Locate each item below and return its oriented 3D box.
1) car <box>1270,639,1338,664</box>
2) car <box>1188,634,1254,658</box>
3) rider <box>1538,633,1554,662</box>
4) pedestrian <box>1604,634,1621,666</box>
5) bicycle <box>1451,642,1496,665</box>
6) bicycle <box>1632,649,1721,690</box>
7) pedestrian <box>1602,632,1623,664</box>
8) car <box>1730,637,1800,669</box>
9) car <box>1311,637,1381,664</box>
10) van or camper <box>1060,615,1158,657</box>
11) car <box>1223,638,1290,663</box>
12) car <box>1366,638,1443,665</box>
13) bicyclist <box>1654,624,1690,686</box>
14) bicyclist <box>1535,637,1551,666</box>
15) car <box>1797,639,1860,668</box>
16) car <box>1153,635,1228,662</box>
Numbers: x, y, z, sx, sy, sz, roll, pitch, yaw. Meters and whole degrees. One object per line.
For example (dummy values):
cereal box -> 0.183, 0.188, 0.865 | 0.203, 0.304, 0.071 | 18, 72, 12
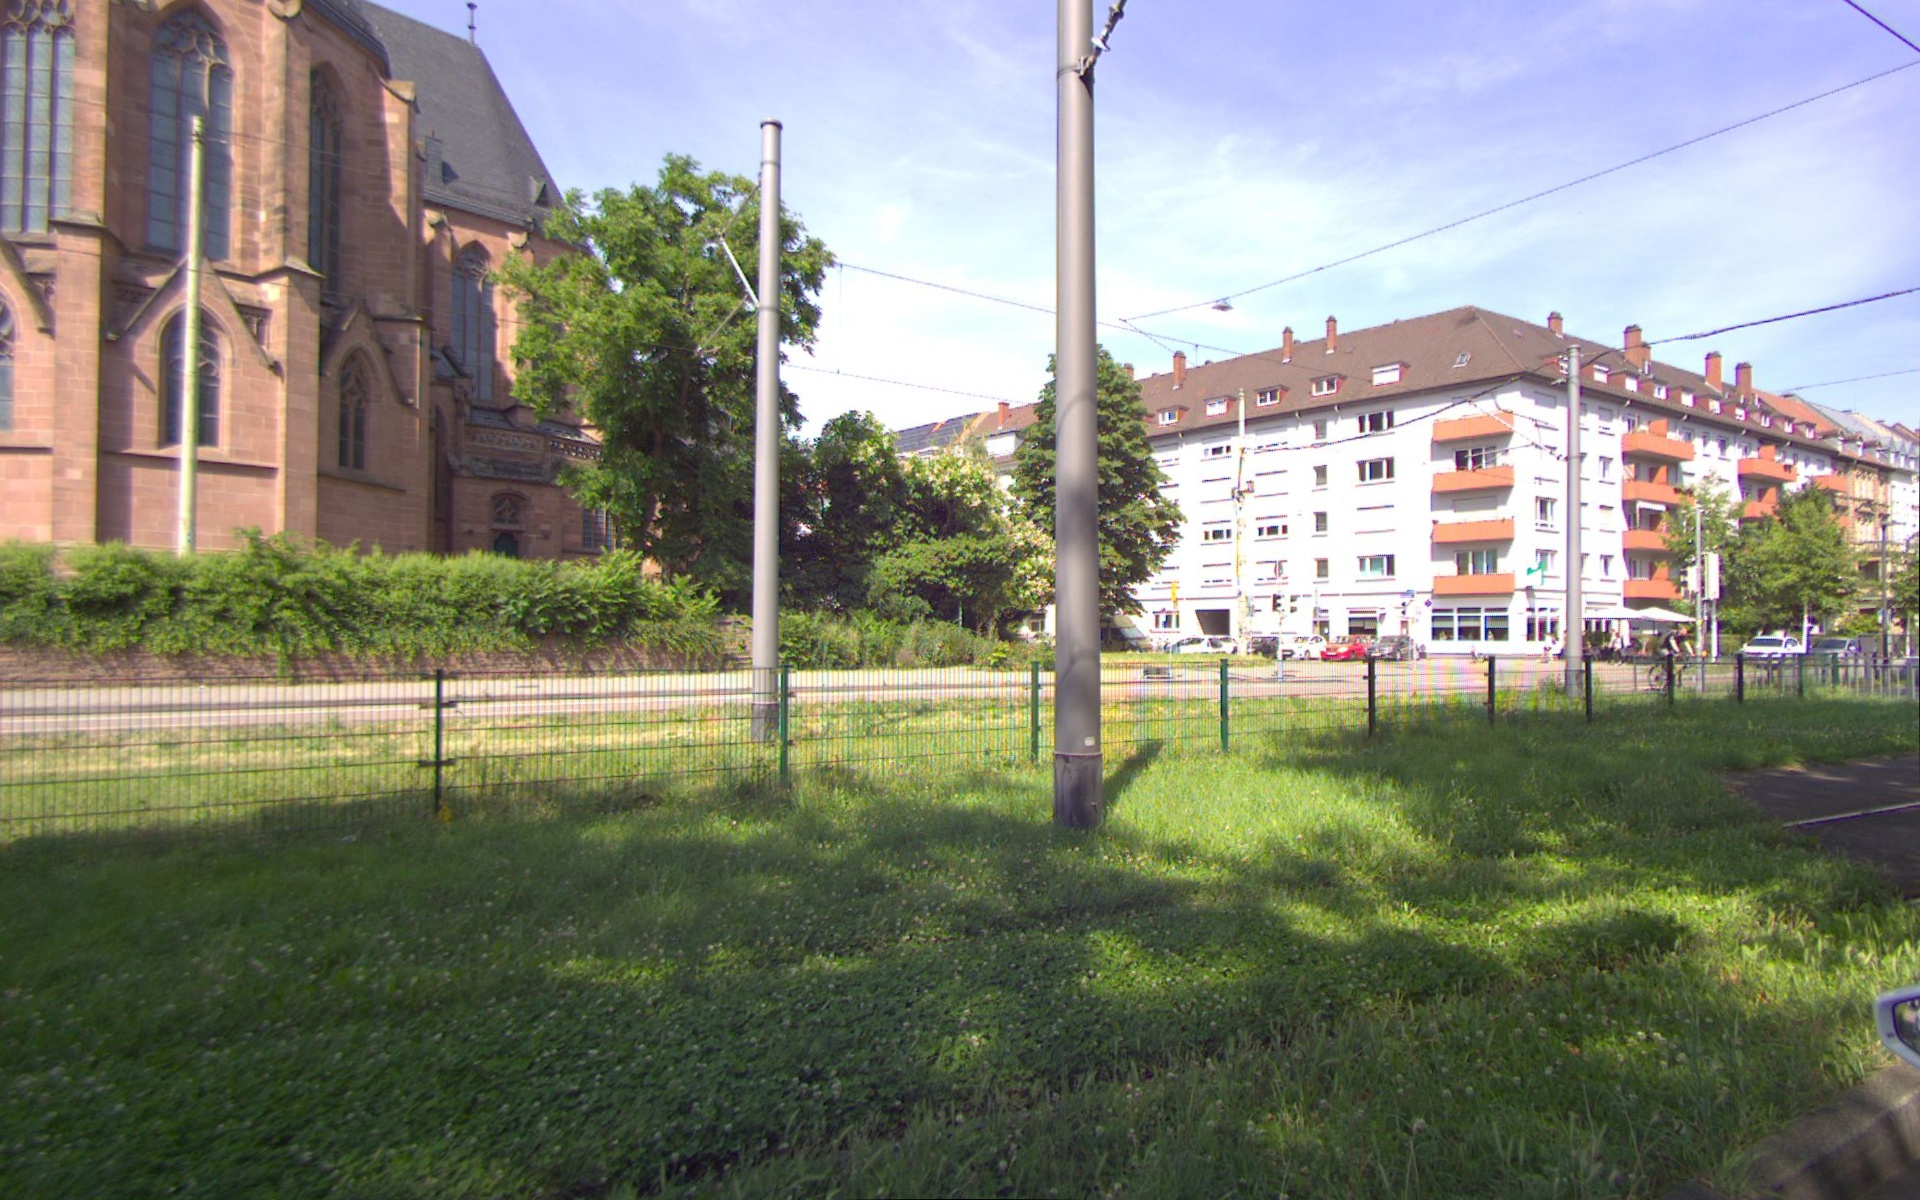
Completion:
car -> 20.267, 2.992, 59.167 | 4.131, 1.425, 1.917 | 2, -3, -39
car -> 16.371, 2.867, 62.960 | 4.131, 1.425, 1.917 | 2, -2, -39
rider -> 30.228, 2.441, 51.817 | 0.616, 1.442, 0.587 | -1, -2, 42
pedestrian -> 32.222, 2.453, 49.600 | 0.678, 1.593, 0.544 | -1, -2, 35
bicycle -> 26.888, 2.773, 52.547 | 2.780, 1.152, 0.905 | 2, -2, -35
bicycle -> 19.335, 1.865, 27.154 | 1.890, 1.062, 0.532 | -1, -2, 27
pedestrian -> 32.562, 2.391, 50.137 | 0.846, 1.593, 0.688 | -1, -2, 35
car -> 39.980, 2.633, 49.883 | 3.963, 1.517, 1.758 | 2, -4, -37
car -> 21.860, 2.836, 56.891 | 4.131, 1.425, 1.917 | 2, -3, -39
van or camper -> 8.890, 2.156, 60.239 | 2.230, 2.360, 5.702 | 2, -3, -43
car -> 17.943, 3.015, 60.679 | 4.131, 1.425, 1.917 | 2, -2, -39
car -> 24.085, 2.753, 54.348 | 4.601, 1.394, 1.820 | 2, -3, -37
bicyclist -> 19.273, 1.487, 27.192 | 0.682, 1.644, 0.624 | -1, -2, 27
bicyclist -> 29.812, 2.636, 51.362 | 0.616, 1.442, 0.587 | -1, -2, 42
car -> 47.169, 2.891, 54.547 | 3.963, 1.517, 1.758 | 2, -4, -37
car -> 12.821, 2.683, 55.926 | 3.700, 1.425, 1.824 | -2, -3, 43
